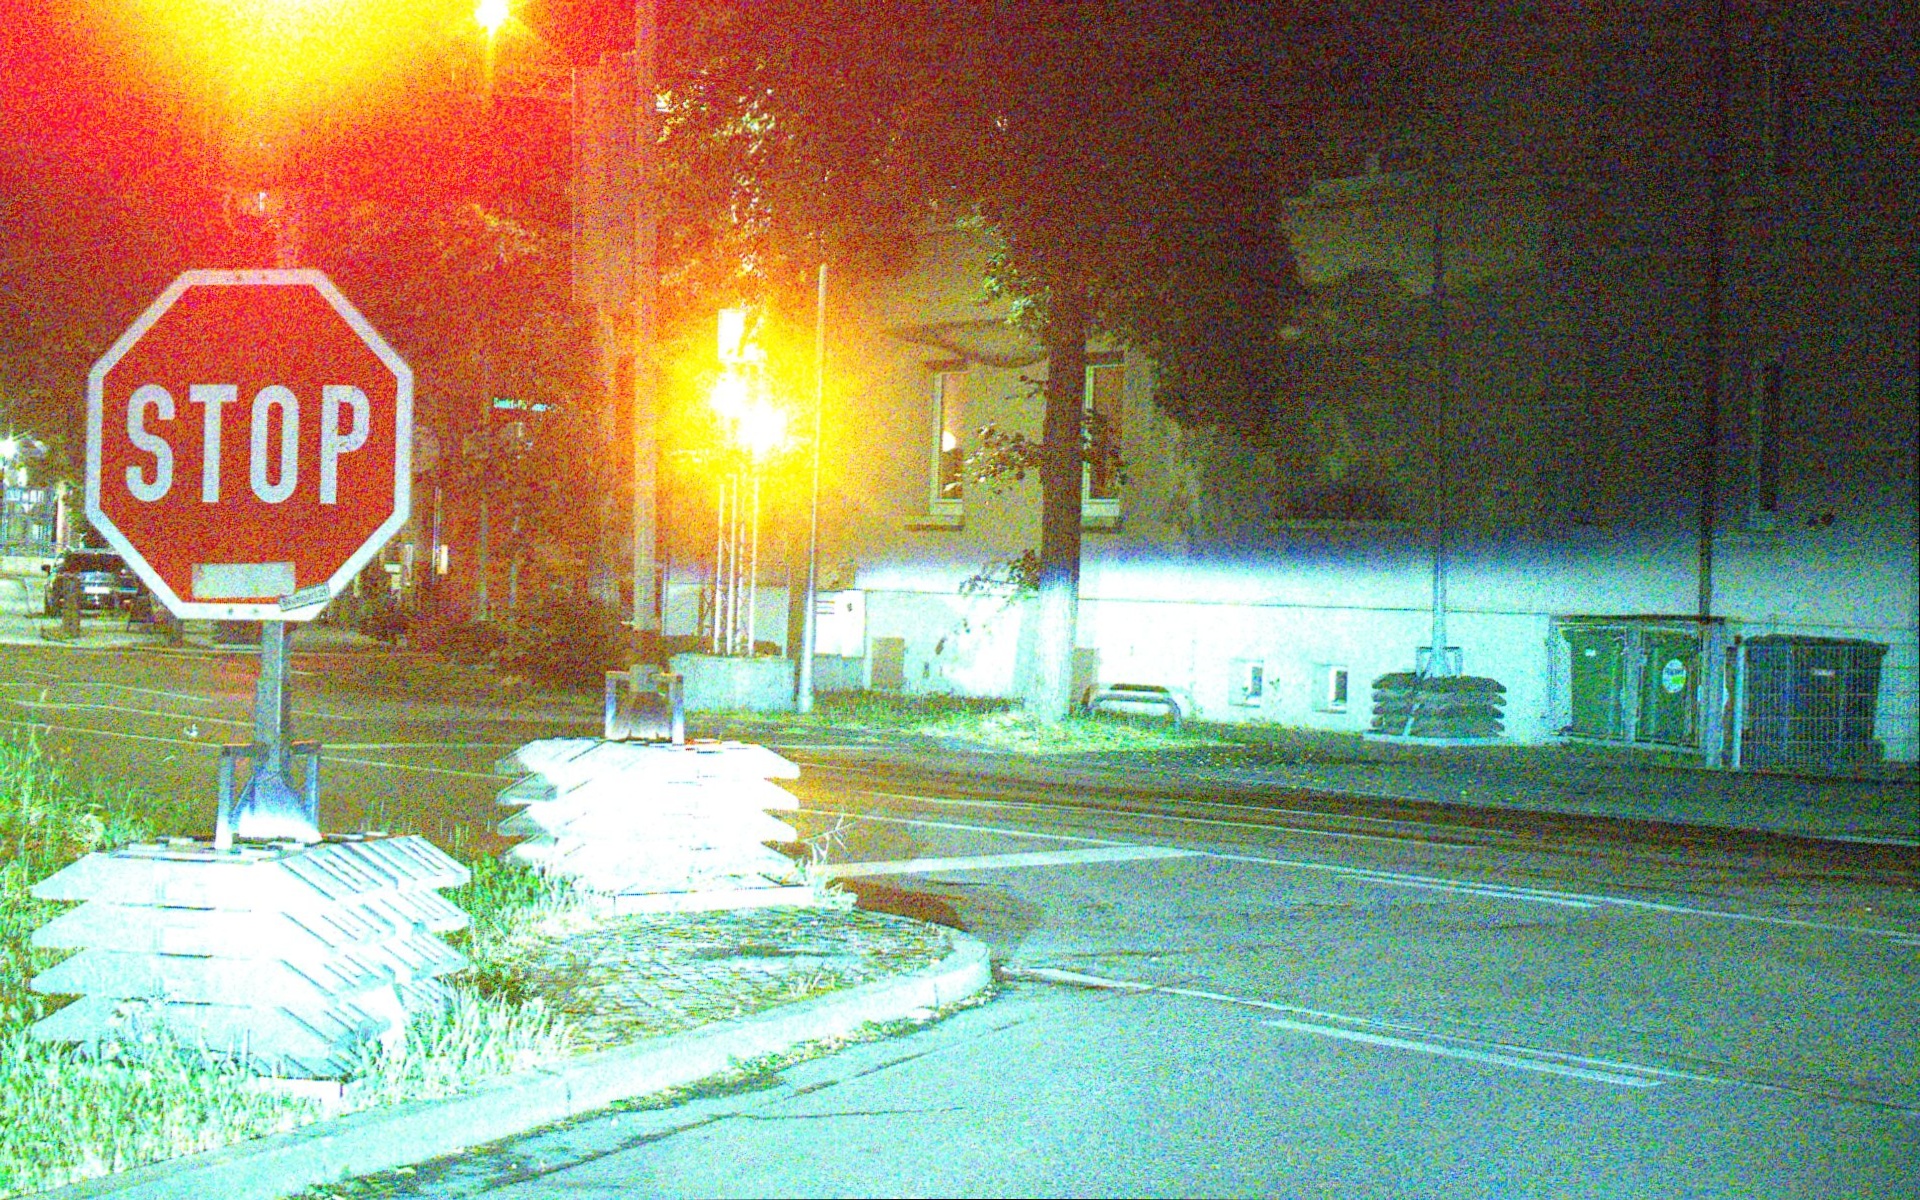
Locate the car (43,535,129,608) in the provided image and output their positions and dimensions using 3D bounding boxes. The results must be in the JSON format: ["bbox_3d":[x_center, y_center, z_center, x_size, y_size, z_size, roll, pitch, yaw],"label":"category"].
[{"bbox_3d":[-18.271,-0.610,71.902,1.651,1.426,4.001,2,1,-14],"label":"car"}]
